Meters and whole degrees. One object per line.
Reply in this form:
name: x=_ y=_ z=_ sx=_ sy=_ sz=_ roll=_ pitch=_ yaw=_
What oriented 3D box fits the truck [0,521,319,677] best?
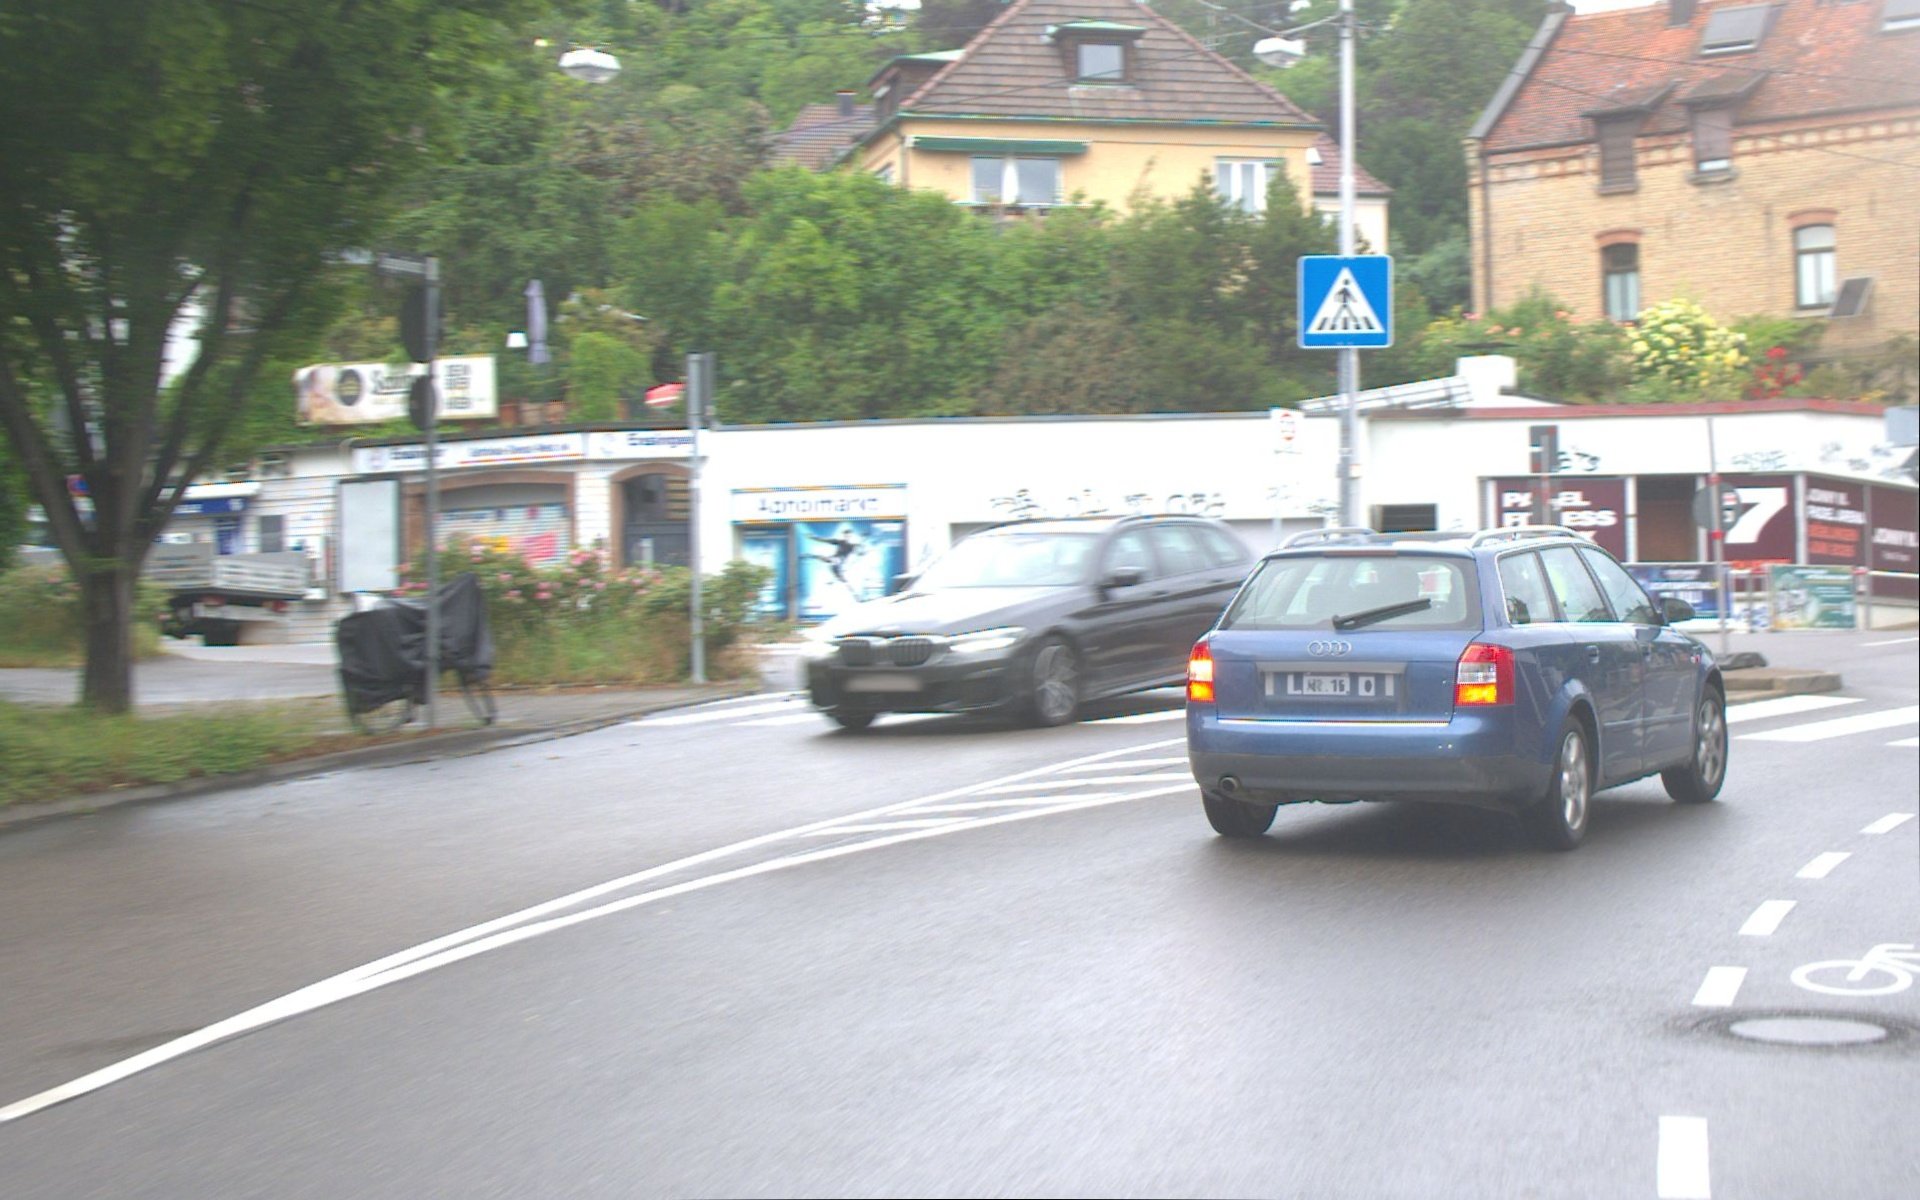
truck: x=-13.303 y=-0.048 z=52.921 sx=6.798 sy=2.261 sz=2.311 roll=1 pitch=0 yaw=29

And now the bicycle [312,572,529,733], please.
bicycle: x=-4.051 y=0.374 z=25.968 sx=0.421 sy=1.081 sz=1.960 roll=1 pitch=3 yaw=32

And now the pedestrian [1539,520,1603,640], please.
pedestrian: x=8.698 y=-0.281 z=48.938 sx=0.582 sy=1.683 sz=0.626 roll=-2 pitch=-1 yaw=-21

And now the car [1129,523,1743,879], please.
car: x=2.441 y=0.376 z=16.692 sx=1.814 sy=1.434 sz=4.076 roll=1 pitch=2 yaw=25

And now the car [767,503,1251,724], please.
car: x=0.488 y=0.068 z=25.874 sx=1.872 sy=1.486 sz=4.631 roll=-2 pitch=0 yaw=25

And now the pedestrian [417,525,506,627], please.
pedestrian: x=-7.575 y=-0.376 z=52.242 sx=0.977 sy=1.500 sz=0.889 roll=2 pitch=2 yaw=32
